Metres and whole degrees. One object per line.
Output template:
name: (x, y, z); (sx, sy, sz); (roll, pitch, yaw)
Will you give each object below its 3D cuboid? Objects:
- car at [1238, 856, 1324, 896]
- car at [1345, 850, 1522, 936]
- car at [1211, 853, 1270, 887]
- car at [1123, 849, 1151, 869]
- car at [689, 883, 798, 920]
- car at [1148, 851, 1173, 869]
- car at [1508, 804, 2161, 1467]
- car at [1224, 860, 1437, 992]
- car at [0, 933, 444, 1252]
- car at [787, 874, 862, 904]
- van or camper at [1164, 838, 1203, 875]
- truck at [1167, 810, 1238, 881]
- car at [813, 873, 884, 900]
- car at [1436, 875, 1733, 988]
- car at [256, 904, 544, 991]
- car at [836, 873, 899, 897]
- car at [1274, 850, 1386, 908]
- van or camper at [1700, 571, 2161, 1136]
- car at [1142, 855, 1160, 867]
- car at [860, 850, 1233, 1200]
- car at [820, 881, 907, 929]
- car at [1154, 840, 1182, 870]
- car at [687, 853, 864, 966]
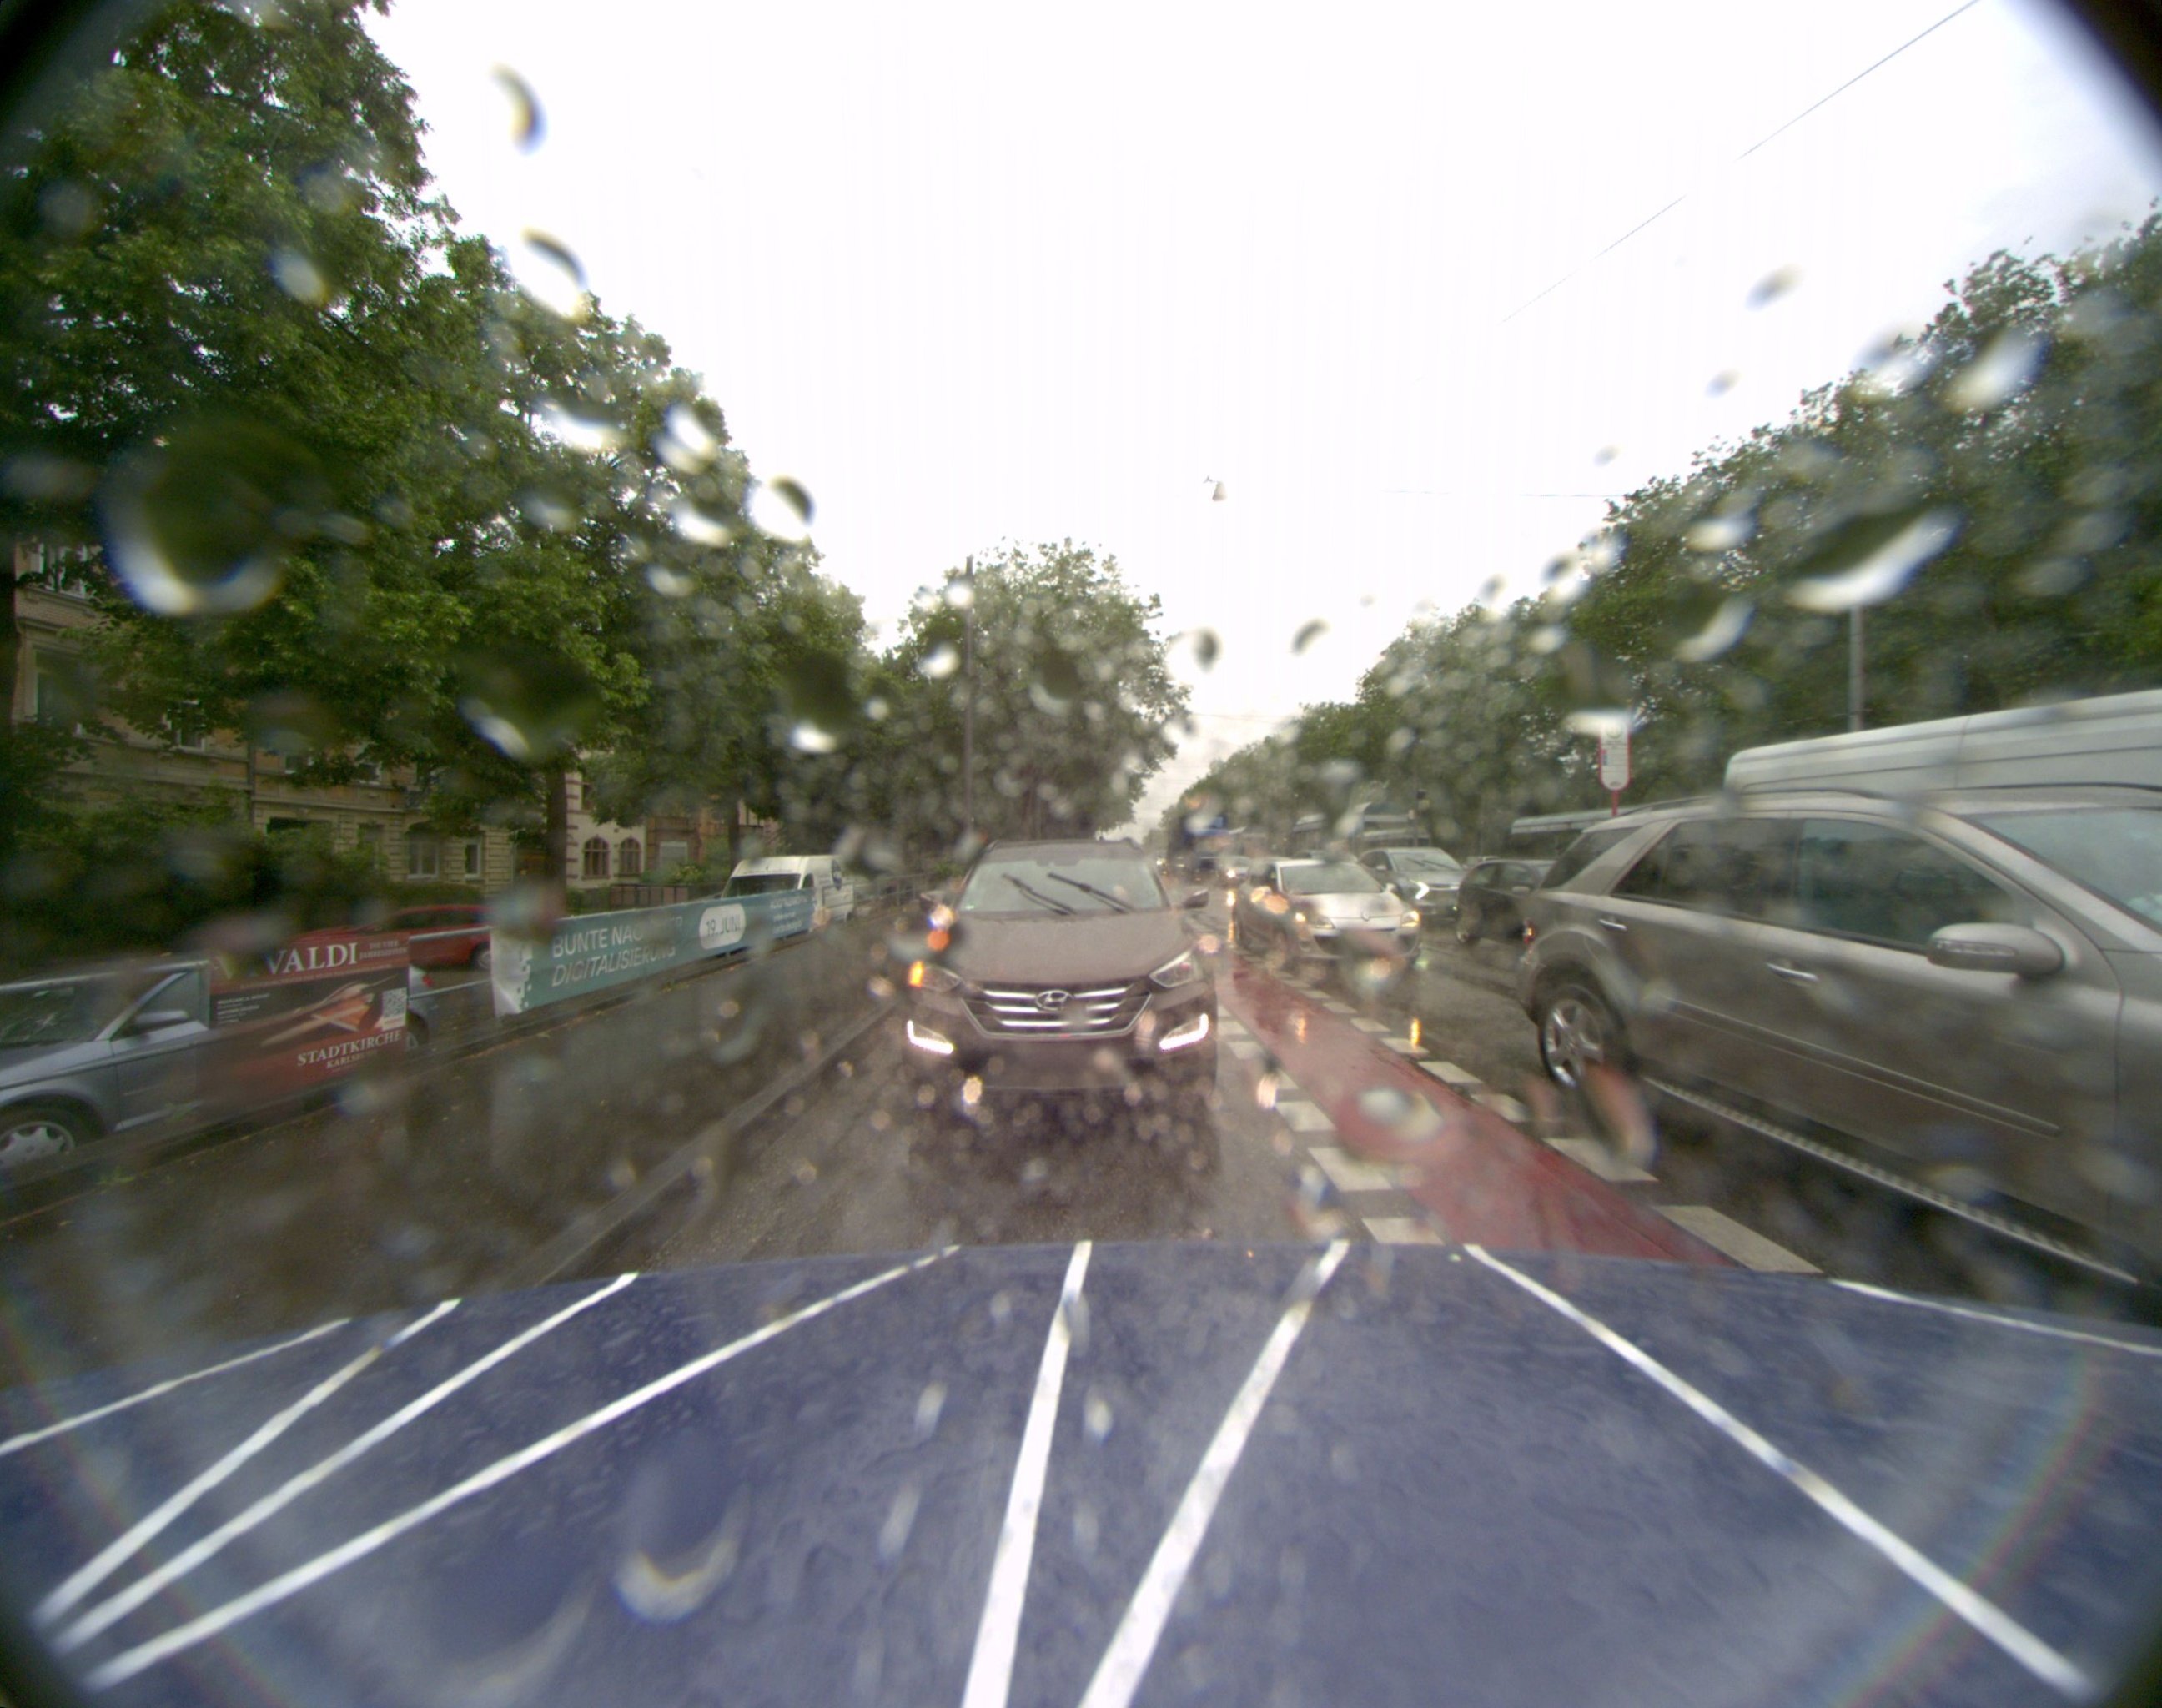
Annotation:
car: (7.521, 0.789, 29.057); (1.999, 1.386, 4.606); (0, 0, -1)
car: (7.431, 0.730, 16.597); (1.919, 1.614, 4.454); (0, 0, 2)
car: (7.580, 0.727, 36.418); (1.895, 1.478, 4.077); (-1, 0, -1)
car: (4.530, 0.362, 61.881); (1.899, 1.569, 3.999); (0, 0, 0)
car: (-14.864, 2.051, 33.498); (4.269, 1.372, 1.687); (-1, 1, -27)
car: (7.611, 0.562, 73.324); (1.998, 1.568, 4.000); (-2, 0, 1)
car: (3.856, 0.716, 2.791); (2.030, 1.760, 4.462); (-2, 0, 0)
car: (3.371, 0.883, 11.113); (1.772, 1.469, 4.000); (-2, 0, 0)
car: (-7.239, 1.591, 5.538); (1.736, 1.530, 4.074); (-2, 0, -1)
car: (-15.727, 2.121, 46.662); (4.006, 1.599, 1.821); (-2, 1, -31)
van or camper: (7.622, 0.181, 57.106); (1.998, 2.555, 6.431); (-2, 0, 0)
truck: (7.217, -0.487, 46.441); (2.545, 3.866, 9.810); (1, 0, -1)
car: (-15.368, 2.122, 50.315); (4.007, 1.557, 1.995); (-2, 1, -34)
car: (6.739, 0.947, 10.765); (1.467, 1.111, 4.087); (-2, 0, 0)
car: (-14.631, 1.952, 16.738); (4.439, 1.444, 1.894); (0, -1, -32)
car: (-15.544, 2.238, 55.354); (4.007, 1.455, 1.908); (-2, 1, -34)
car: (7.563, 0.687, 23.579); (1.999, 1.611, 4.319); (-1, 0, -1)
van or camper: (7.055, -0.007, 4.352); (2.164, 3.123, 5.850); (0, 0, -1)
car: (7.371, 0.693, 79.928); (1.467, 1.185, 3.615); (-2, 0, 0)
car: (-0.104, 0.825, 5.504); (1.756, 1.657, 3.678); (-2, 0, 2)
car: (-7.704, 1.763, 27.344); (1.972, 1.345, 4.383); (-3, 0, -3)
car: (7.484, 0.066, 65.787); (1.998, 2.412, 5.727); (-2, 0, 3)
car: (-7.710, 1.242, 20.093); (2.214, 2.406, 6.157); (-2, 0, -2)
